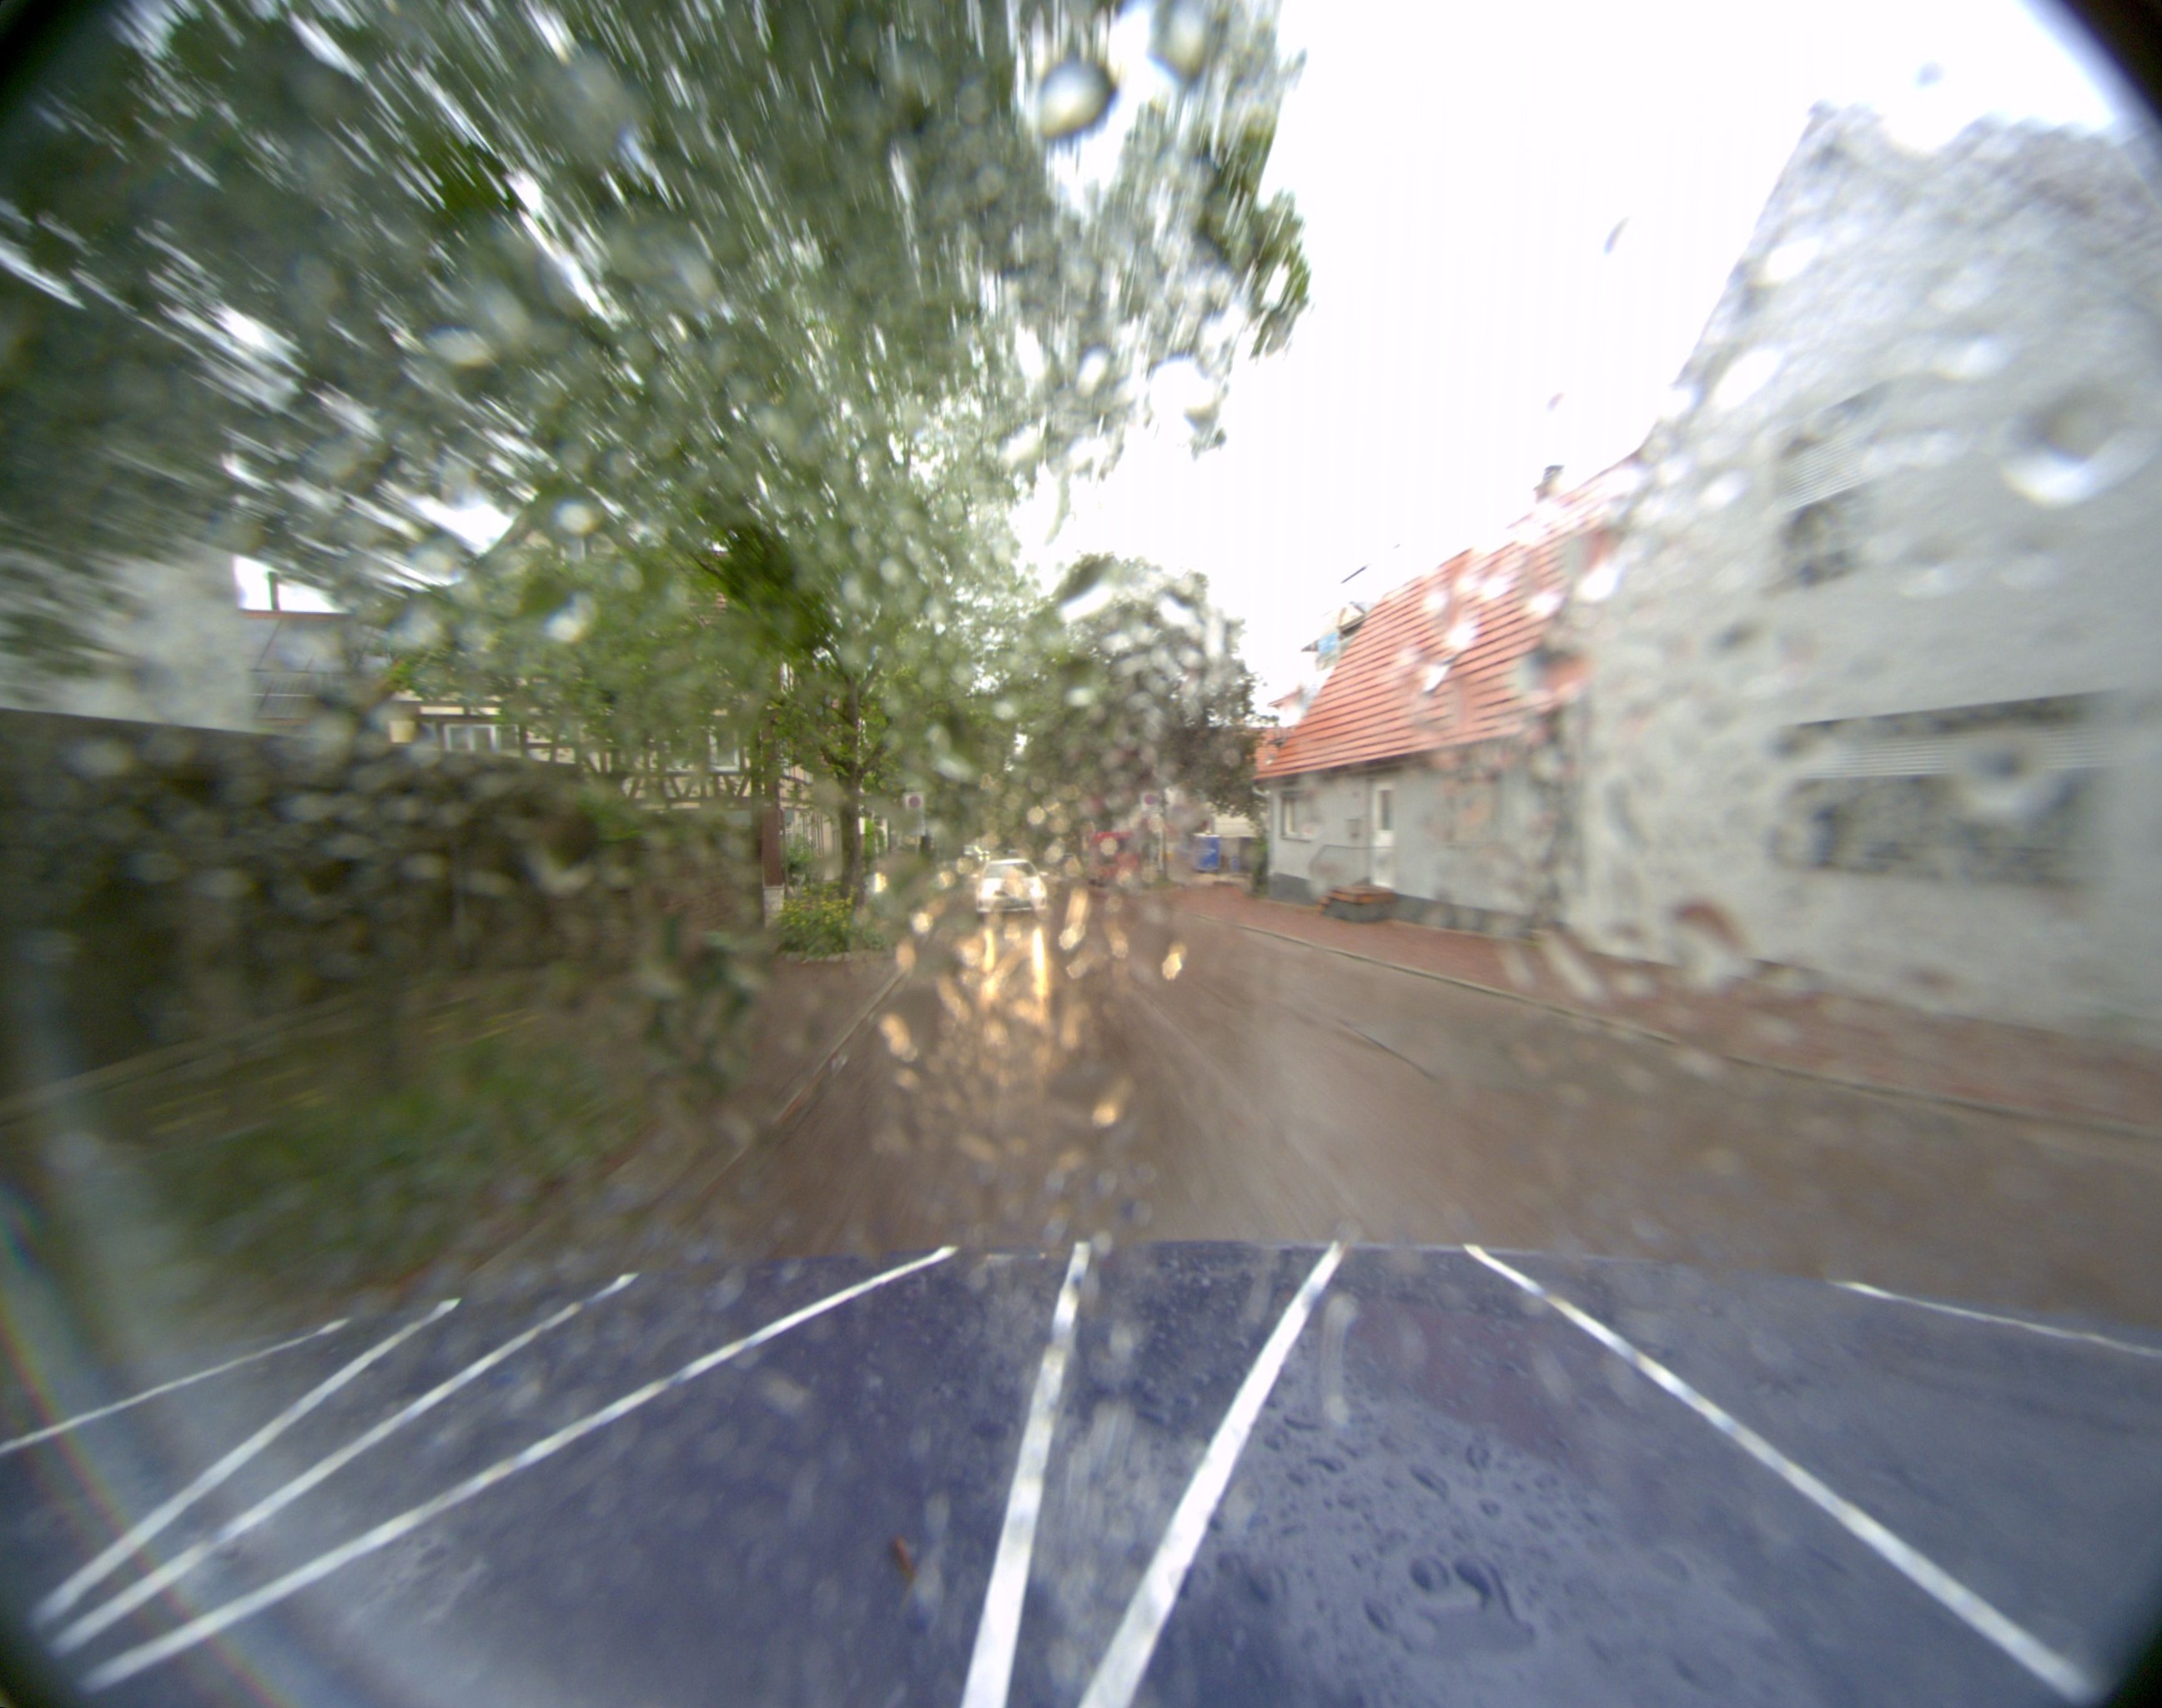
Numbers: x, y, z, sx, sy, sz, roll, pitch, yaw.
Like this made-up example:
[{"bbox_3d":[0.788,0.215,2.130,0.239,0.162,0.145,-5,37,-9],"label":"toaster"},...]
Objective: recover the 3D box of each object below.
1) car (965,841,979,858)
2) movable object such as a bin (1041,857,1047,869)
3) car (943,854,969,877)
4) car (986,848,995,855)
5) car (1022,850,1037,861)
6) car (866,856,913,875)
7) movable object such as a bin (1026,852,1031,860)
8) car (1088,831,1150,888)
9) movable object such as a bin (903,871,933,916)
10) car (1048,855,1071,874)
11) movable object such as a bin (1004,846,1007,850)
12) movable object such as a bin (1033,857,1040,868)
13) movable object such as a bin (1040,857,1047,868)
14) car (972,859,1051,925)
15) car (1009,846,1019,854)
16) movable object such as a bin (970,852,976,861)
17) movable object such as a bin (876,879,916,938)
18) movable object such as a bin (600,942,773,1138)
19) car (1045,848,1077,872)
[{"bbox_3d":[-17.379,-0.738,121.455,2.148,2.446,5.430,-2,1,-7],"label":"car"},{"bbox_3d":[-3.721,0.900,76.590,0.612,1.105,0.564,-1,1,-6],"label":"movable object such as a bin"},{"bbox_3d":[-10.612,0.959,64.684,1.920,1.782,4.485,-2,1,-7],"label":"car"},{"bbox_3d":[-17.911,-0.565,150.853,1.686,1.391,3.791,-1,1,-8],"label":"car"},{"bbox_3d":[-7.018,0.210,103.193,1.777,1.381,4.542,-4,1,-6],"label":"car"},{"bbox_3d":[-14.796,0.868,58.838,3.376,1.422,1.629,0,1,-11],"label":"car"},{"bbox_3d":[-6.603,0.244,95.744,0.596,1.056,0.545,-4,1,-4],"label":"movable object such as a bin"},{"bbox_3d":[1.721,0.275,36.934,2.310,2.468,5.783,-2,0,-3],"label":"car"},{"bbox_3d":[-4.647,1.126,21.707,0.723,1.206,0.726,-2,1,-7],"label":"movable object such as a bin"},{"bbox_3d":[-1.909,0.871,65.529,1.652,1.524,3.863,-3,1,-5],"label":"car"},{"bbox_3d":[-18.233,-1.466,184.578,0.619,1.053,0.568,-4,2,-9],"label":"movable object such as a bin"},{"bbox_3d":[-4.561,0.884,77.372,0.645,1.105,0.536,-1,1,-6],"label":"movable object such as a bin"},{"bbox_3d":[-3.799,0.894,77.308,0.612,1.105,0.564,-1,1,-6],"label":"movable object such as a bin"},{"bbox_3d":[-1.835,0.912,20.154,1.829,1.451,3.873,-3,1,-5],"label":"car"},{"bbox_3d":[-12.352,-0.728,140.019,1.755,1.388,3.793,-2,1,-7],"label":"car"},{"bbox_3d":[-13.189,0.338,92.518,0.645,1.076,0.540,-2,2,-11],"label":"movable object such as a bin"},{"bbox_3d":[-3.864,1.131,15.936,0.726,1.136,0.702,-2,1,-10],"label":"movable object such as a bin"},{"bbox_3d":[-2.642,1.208,5.195,0.771,1.100,0.884,0,1,-7],"label":"movable object such as a bin"},{"bbox_3d":[-1.507,0.435,55.928,1.777,1.544,3.997,-4,1,-9],"label":"car"}]
